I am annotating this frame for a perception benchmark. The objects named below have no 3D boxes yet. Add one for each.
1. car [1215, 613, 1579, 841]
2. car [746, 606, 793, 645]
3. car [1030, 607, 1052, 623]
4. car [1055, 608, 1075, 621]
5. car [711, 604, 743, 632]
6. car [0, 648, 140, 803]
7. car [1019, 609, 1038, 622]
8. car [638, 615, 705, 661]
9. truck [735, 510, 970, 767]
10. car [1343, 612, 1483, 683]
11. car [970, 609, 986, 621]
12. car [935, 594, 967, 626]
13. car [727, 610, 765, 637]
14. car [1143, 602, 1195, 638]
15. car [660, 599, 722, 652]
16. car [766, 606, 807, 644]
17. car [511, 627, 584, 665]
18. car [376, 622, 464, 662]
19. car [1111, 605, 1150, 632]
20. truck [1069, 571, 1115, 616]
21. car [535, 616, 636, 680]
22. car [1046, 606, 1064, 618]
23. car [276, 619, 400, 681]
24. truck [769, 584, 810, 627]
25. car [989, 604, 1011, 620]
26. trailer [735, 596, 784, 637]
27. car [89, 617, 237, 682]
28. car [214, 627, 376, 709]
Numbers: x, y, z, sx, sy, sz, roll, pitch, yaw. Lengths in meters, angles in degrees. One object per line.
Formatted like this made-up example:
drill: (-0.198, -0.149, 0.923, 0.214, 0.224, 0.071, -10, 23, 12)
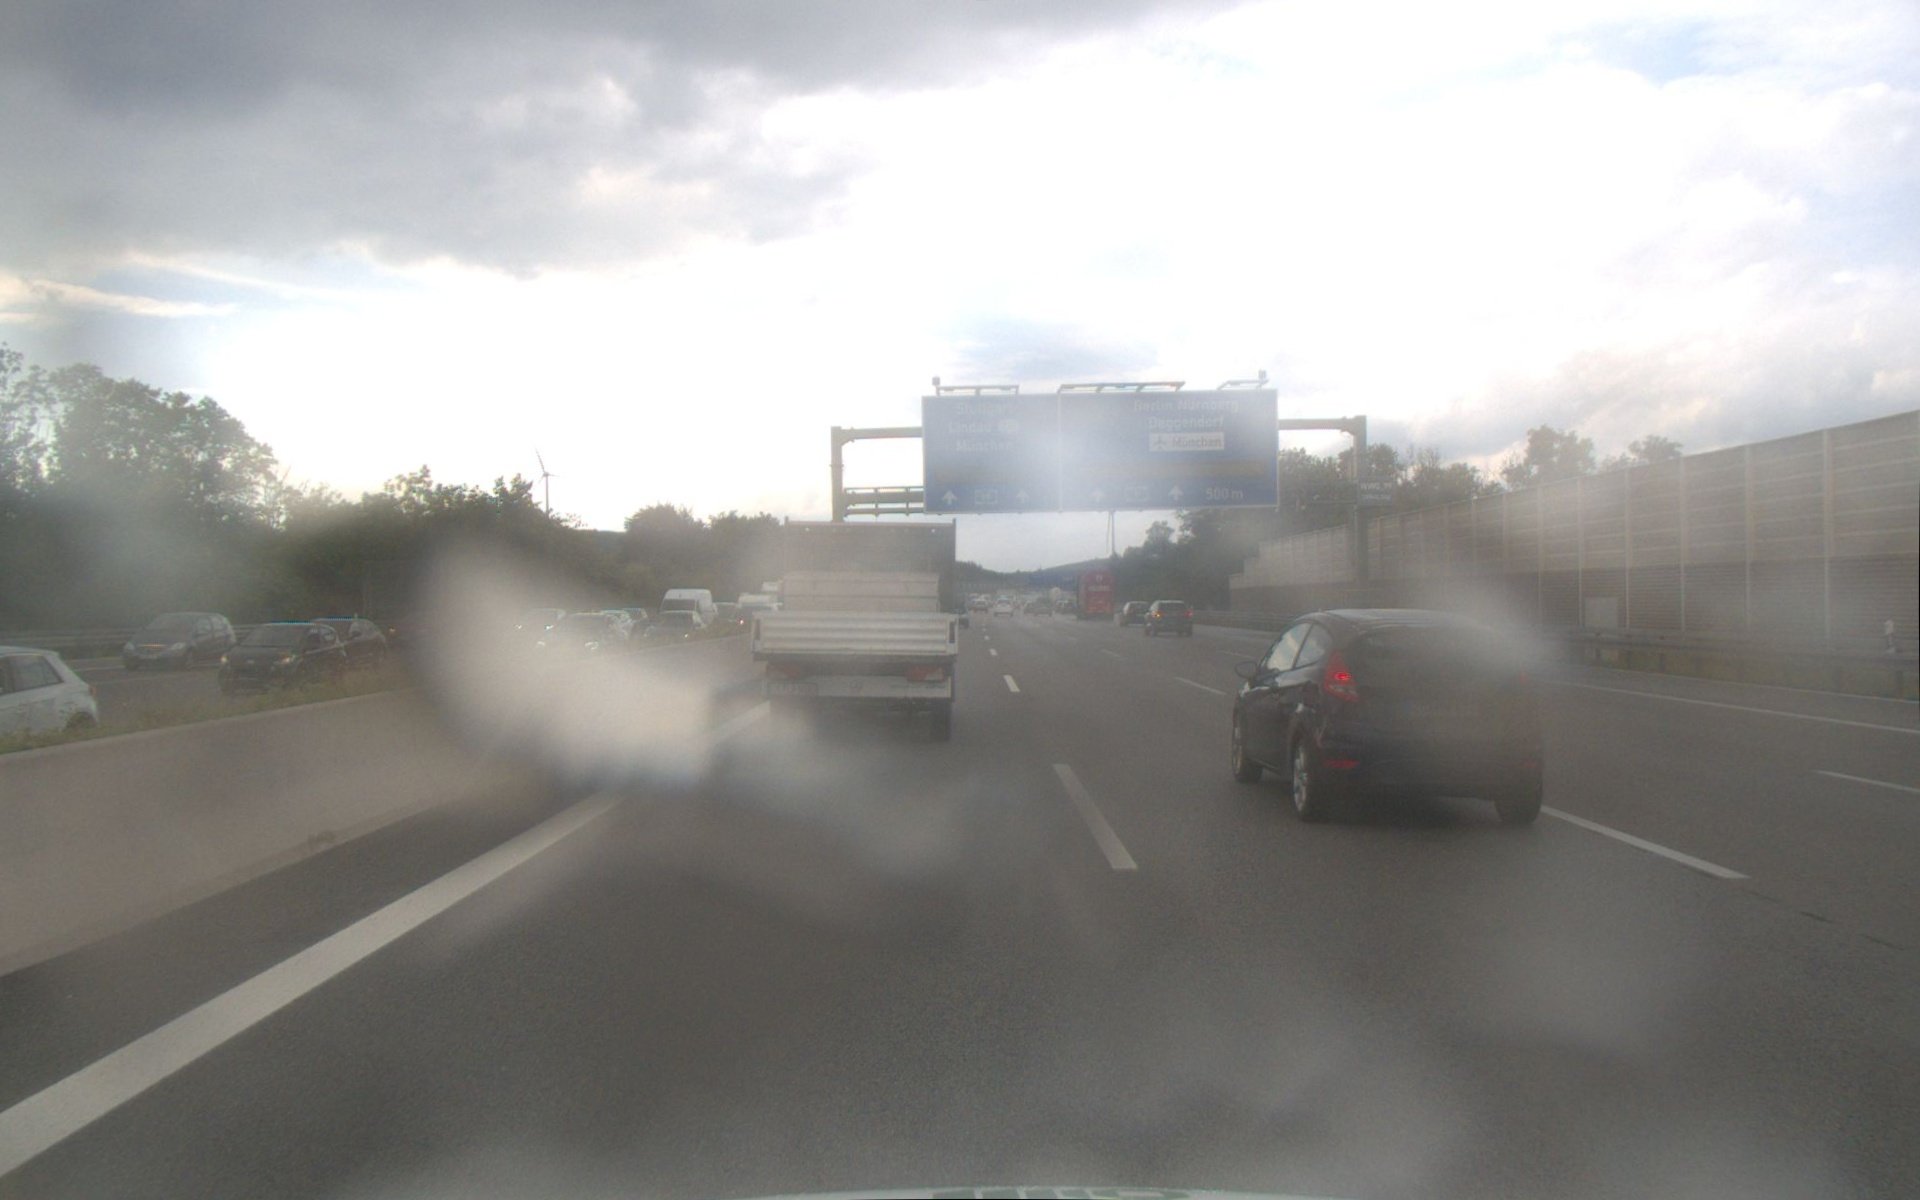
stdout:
car: (3.126, 0.827, 12.720, 1.682, 1.442, 4.278, 0, 0, 0)
car: (-9.865, 1.304, 85.902, 1.781, 1.938, 5.424, -1, 0, 0)
car: (8.447, 1.579, 173.789, 1.928, 1.588, 4.431, -1, 0, -2)
car: (12.676, 1.746, 199.264, 1.928, 1.588, 4.431, -1, 0, -2)
car: (-17.718, 1.330, 125.801, 1.781, 2.114, 4.478, 0, 0, 0)
car: (-10.443, 1.290, 17.055, 1.688, 1.453, 4.648, 1, 0, -1)
car: (8.131, 1.824, 196.464, 1.929, 1.588, 4.430, -1, 0, -3)
car: (-10.795, 1.397, 62.108, 1.688, 1.631, 4.912, 1, 0, -1)
truck: (-1.041, 0.331, 19.619, 2.259, 2.482, 7.148, 0, 1, 0)
car: (9.822, 0.992, 36.212, 1.910, 1.443, 4.232, 0, 0, 0)
car: (2.318, 1.948, 218.805, 1.928, 1.588, 4.431, -1, 0, -2)
car: (-0.470, 0.527, 89.926, 1.682, 1.652, 4.278, 0, 1, 0)
car: (-13.839, 1.521, 107.345, 1.780, 1.707, 4.478, 1, 0, 1)
car: (9.280, 0.882, 73.694, 1.844, 1.569, 4.433, -1, 0, 1)
car: (-14.377, 1.339, 88.787, 2.006, 2.699, 7.735, -1, 0, 0)
car: (-9.989, 1.403, 95.540, 1.781, 2.114, 5.375, -1, 0, 0)
car: (-17.923, 1.965, 72.048, 1.942, 1.520, 4.913, -1, 0, 0)
car: (-22.017, 1.694, 67.617, 1.942, 1.520, 4.913, -1, 0, 0)
car: (10.454, 1.134, 101.622, 1.844, 1.588, 4.431, -1, 0, -2)
truck: (11.326, -0.605, 143.143, 3.087, 3.664, 12.700, 1, 0, 1)
car: (-10.475, 1.306, 46.574, 1.688, 1.631, 4.913, 1, 0, 0)
car: (12.765, 1.572, 222.907, 1.928, 1.588, 4.431, -1, 0, -2)
car: (-17.841, 1.399, 47.674, 1.688, 1.631, 4.913, 1, 0, 0)
truck: (-17.208, 0.615, 167.743, 2.740, 4.184, 12.295, -1, 0, 1)
car: (4.009, 1.249, 167.444, 1.928, 1.588, 4.431, -1, 0, -2)
trailer: (-13.697, 1.143, 113.298, 2.293, 2.699, 7.184, -1, 0, 1)
car: (-22.002, 1.324, 45.878, 1.688, 1.631, 4.913, 1, 0, 0)
car: (-14.723, 1.467, 36.904, 1.688, 1.631, 4.644, 1, 0, 0)
